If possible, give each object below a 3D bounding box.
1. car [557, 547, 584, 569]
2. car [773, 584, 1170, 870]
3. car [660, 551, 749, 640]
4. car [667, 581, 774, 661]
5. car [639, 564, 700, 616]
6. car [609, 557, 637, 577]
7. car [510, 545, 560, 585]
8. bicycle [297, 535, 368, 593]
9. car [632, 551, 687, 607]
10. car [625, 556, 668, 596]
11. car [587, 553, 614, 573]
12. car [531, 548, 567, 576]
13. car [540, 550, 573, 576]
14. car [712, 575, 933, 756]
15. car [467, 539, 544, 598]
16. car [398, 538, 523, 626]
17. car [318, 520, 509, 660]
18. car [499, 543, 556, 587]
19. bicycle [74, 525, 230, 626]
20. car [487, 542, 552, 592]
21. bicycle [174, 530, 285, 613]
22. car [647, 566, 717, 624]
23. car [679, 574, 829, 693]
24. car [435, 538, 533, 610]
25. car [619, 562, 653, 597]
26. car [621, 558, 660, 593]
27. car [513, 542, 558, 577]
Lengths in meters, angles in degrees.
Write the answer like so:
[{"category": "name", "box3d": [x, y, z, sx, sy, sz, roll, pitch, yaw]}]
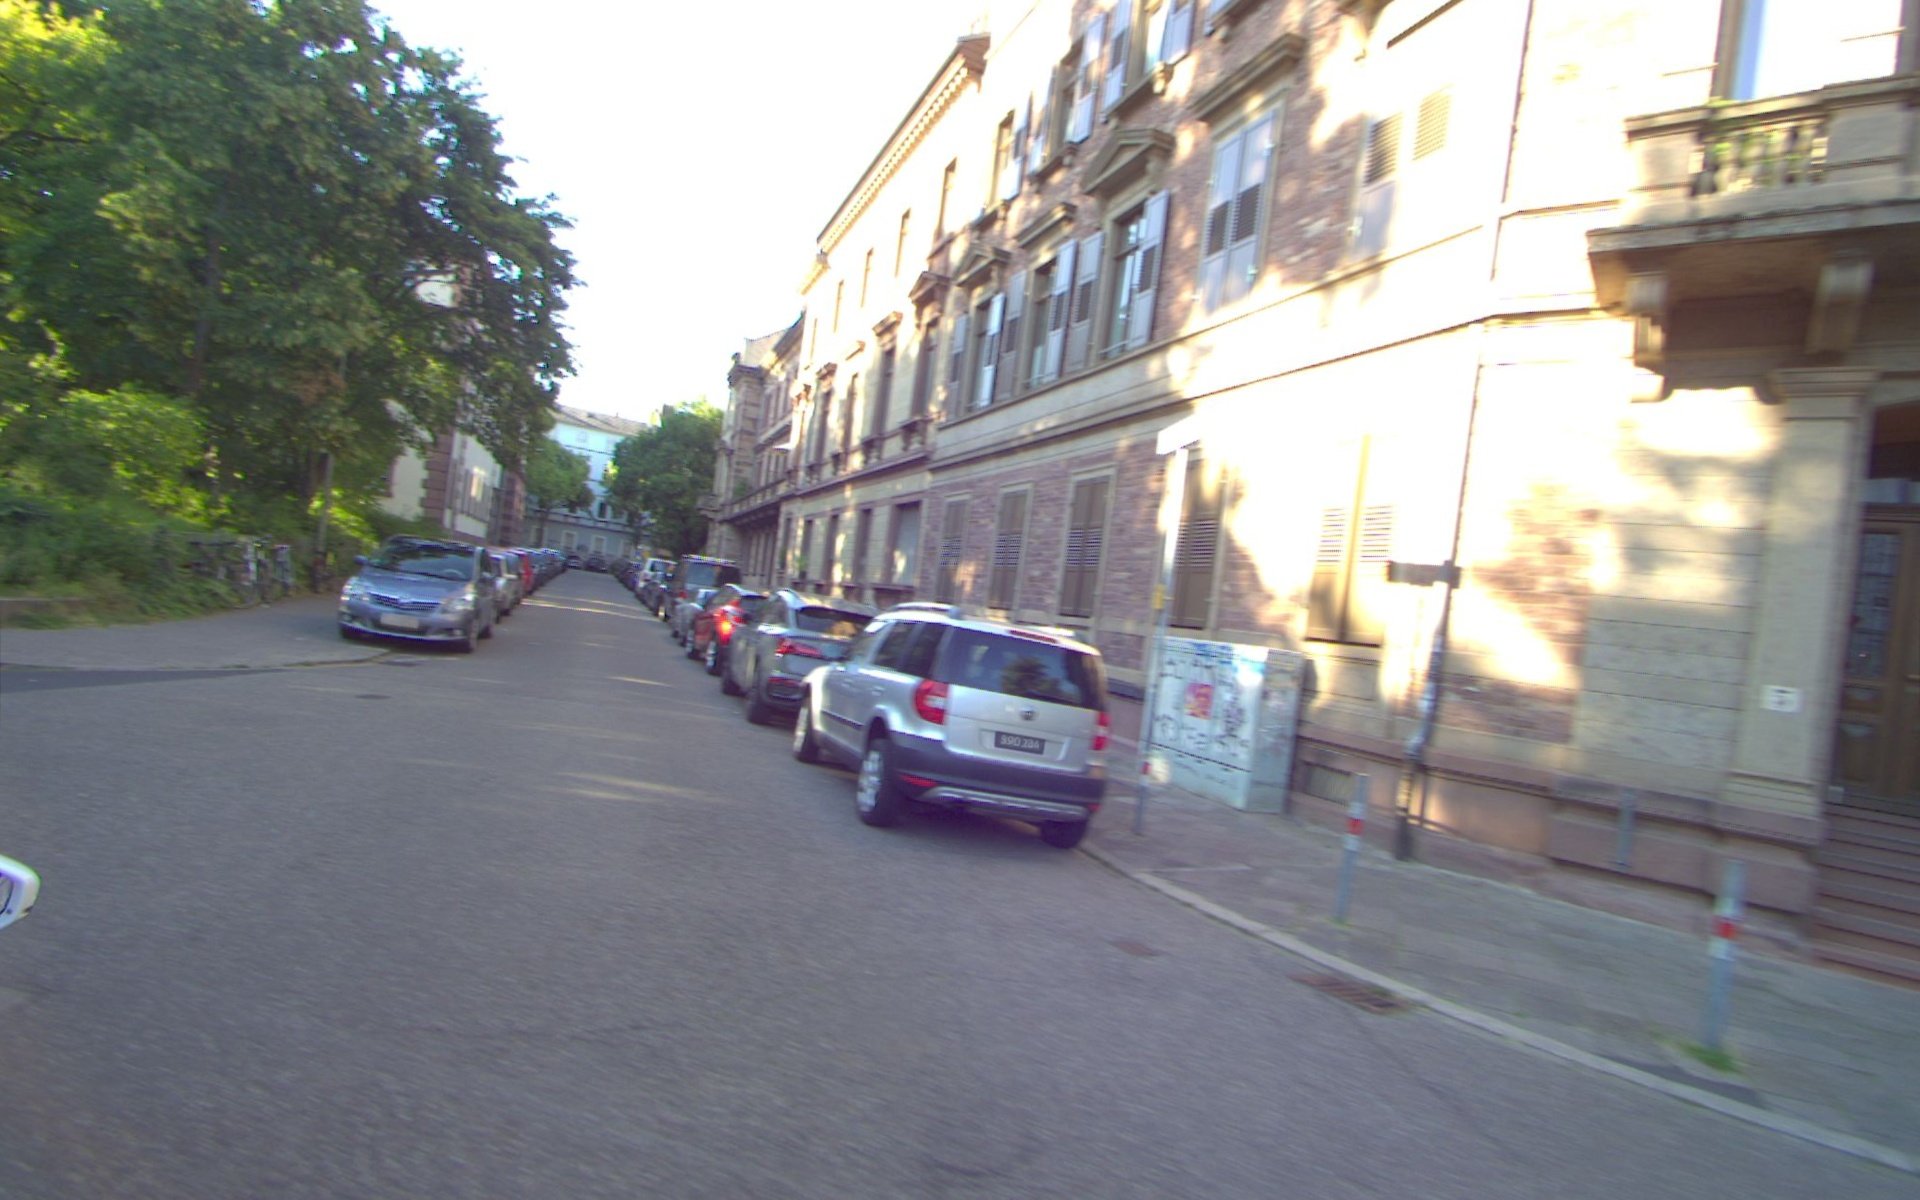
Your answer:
[{"category": "car", "box3d": [-38.660, -4.137, 99.850, 1.977, 1.702, 3.977, 9, -3, -26]}, {"category": "car", "box3d": [-0.214, 0.899, 8.914, 1.898, 1.674, 4.167, 11, -2, -21]}, {"category": "car", "box3d": [-7.412, -0.176, 28.876, 1.780, 2.095, 3.936, 10, -1, -20]}, {"category": "car", "box3d": [-5.674, 0.434, 23.485, 1.780, 1.360, 3.936, 11, -2, -20]}, {"category": "car", "box3d": [-11.445, -0.426, 39.479, 1.780, 1.641, 3.936, 11, -1, -20]}, {"category": "car", "box3d": [-34.375, -3.361, 102.556, 1.977, 1.702, 3.977, 9, -3, -26]}, {"category": "car", "box3d": [-20.749, -1.712, 49.196, 1.808, 1.517, 3.913, 11, -2, -20]}, {"category": "bicycle", "box3d": [-13.549, -0.773, 21.785, 0.590, 1.114, 2.616, 7, -1, -19]}, {"category": "car", "box3d": [-13.366, -0.948, 44.570, 1.780, 2.095, 3.936, 10, -1, -20]}, {"category": "car", "box3d": [-17.293, -1.346, 55.421, 1.780, 1.859, 3.936, 11, -1, -20]}, {"category": "car", "box3d": [-36.294, -3.701, 101.482, 1.977, 1.702, 3.977, 9, -3, -26]}, {"category": "car", "box3d": [-27.963, -2.595, 68.527, 1.808, 1.517, 3.913, 11, -2, -20]}, {"category": "car", "box3d": [-29.407, -2.682, 73.410, 1.808, 1.517, 3.913, 11, -2, -20]}, {"category": "car", "box3d": [-2.049, 0.716, 13.535, 1.808, 1.742, 4.523, 11, -2, -20]}, {"category": "car", "box3d": [-15.068, -1.034, 33.515, 1.808, 1.517, 3.913, 11, -2, -20]}, {"category": "car", "box3d": [-10.920, -0.415, 22.247, 1.808, 1.463, 3.913, 11, -2, -20]}, {"category": "car", "box3d": [-8.545, -0.188, 16.144, 1.808, 1.632, 4.272, 11, -2, -20]}, {"category": "car", "box3d": [-19.043, -1.542, 44.431, 1.808, 1.517, 3.913, 11, -2, -20]}, {"category": "bicycle", "box3d": [-10.455, -0.322, 13.141, 0.590, 1.114, 2.617, 7, -1, -18]}, {"category": "car", "box3d": [-17.176, -1.291, 39.375, 1.808, 1.517, 3.913, 11, -2, -20]}, {"category": "bicycle", "box3d": [-11.327, -0.443, 15.701, 0.590, 1.114, 2.615, 7, 0, -20]}, {"category": "car", "box3d": [-9.577, -0.212, 34.486, 1.780, 1.540, 3.936, 11, -2, -20]}, {"category": "car", "box3d": [-3.896, 0.533, 18.507, 1.782, 1.632, 3.934, 11, -1, -22]}, {"category": "car", "box3d": [-12.879, -0.716, 27.423, 1.808, 1.494, 3.913, 11, -2, -20]}, {"category": "car", "box3d": [-22.265, -1.456, 69.041, 1.780, 2.039, 3.936, 11, -1, -20]}, {"category": "car", "box3d": [-19.187, -1.478, 60.308, 1.780, 1.747, 3.936, 11, -1, -20]}, {"category": "car", "box3d": [-23.058, -2.179, 54.711, 1.808, 1.517, 3.913, 11, -2, -20]}]
